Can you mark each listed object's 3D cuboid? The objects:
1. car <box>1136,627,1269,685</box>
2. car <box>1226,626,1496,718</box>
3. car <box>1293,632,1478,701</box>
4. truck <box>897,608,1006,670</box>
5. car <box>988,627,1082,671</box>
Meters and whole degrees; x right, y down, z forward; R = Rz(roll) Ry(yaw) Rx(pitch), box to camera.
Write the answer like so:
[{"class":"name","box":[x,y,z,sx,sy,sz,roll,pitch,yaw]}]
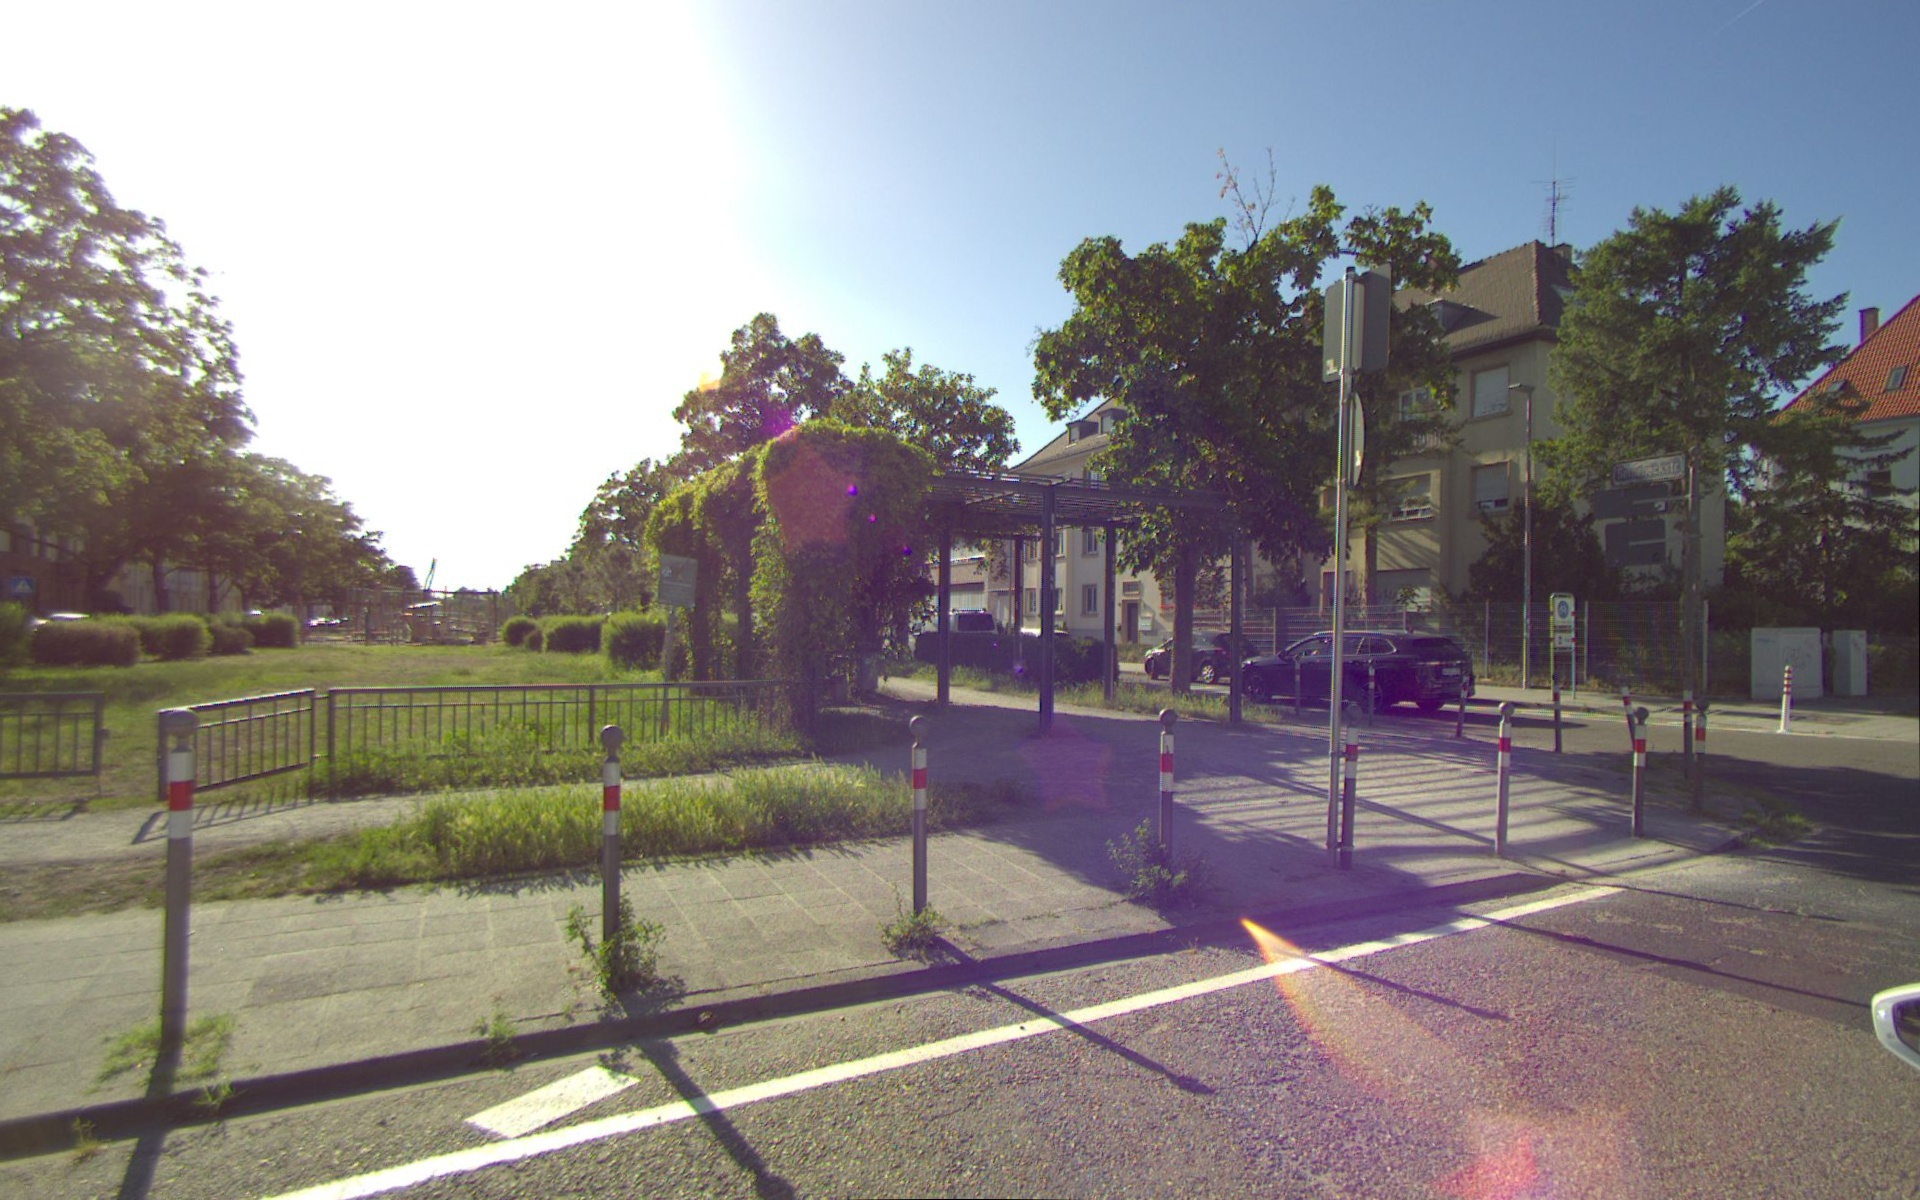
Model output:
[{"class":"car","box":[6.826,1.550,28.644,1.655,1.514,3.801,2,-2,-26]},{"class":"car","box":[7.587,1.287,19.518,1.976,1.545,4.720,1,-2,-29]},{"class":"car","box":[9.727,1.482,23.231,1.685,1.416,3.751,2,-2,-27]},{"class":"truck","box":[-0.387,1.352,35.736,1.974,2.063,4.841,1,-2,-27]},{"class":"car","box":[2.761,1.808,37.819,1.778,1.514,3.974,2,-2,-26]}]
